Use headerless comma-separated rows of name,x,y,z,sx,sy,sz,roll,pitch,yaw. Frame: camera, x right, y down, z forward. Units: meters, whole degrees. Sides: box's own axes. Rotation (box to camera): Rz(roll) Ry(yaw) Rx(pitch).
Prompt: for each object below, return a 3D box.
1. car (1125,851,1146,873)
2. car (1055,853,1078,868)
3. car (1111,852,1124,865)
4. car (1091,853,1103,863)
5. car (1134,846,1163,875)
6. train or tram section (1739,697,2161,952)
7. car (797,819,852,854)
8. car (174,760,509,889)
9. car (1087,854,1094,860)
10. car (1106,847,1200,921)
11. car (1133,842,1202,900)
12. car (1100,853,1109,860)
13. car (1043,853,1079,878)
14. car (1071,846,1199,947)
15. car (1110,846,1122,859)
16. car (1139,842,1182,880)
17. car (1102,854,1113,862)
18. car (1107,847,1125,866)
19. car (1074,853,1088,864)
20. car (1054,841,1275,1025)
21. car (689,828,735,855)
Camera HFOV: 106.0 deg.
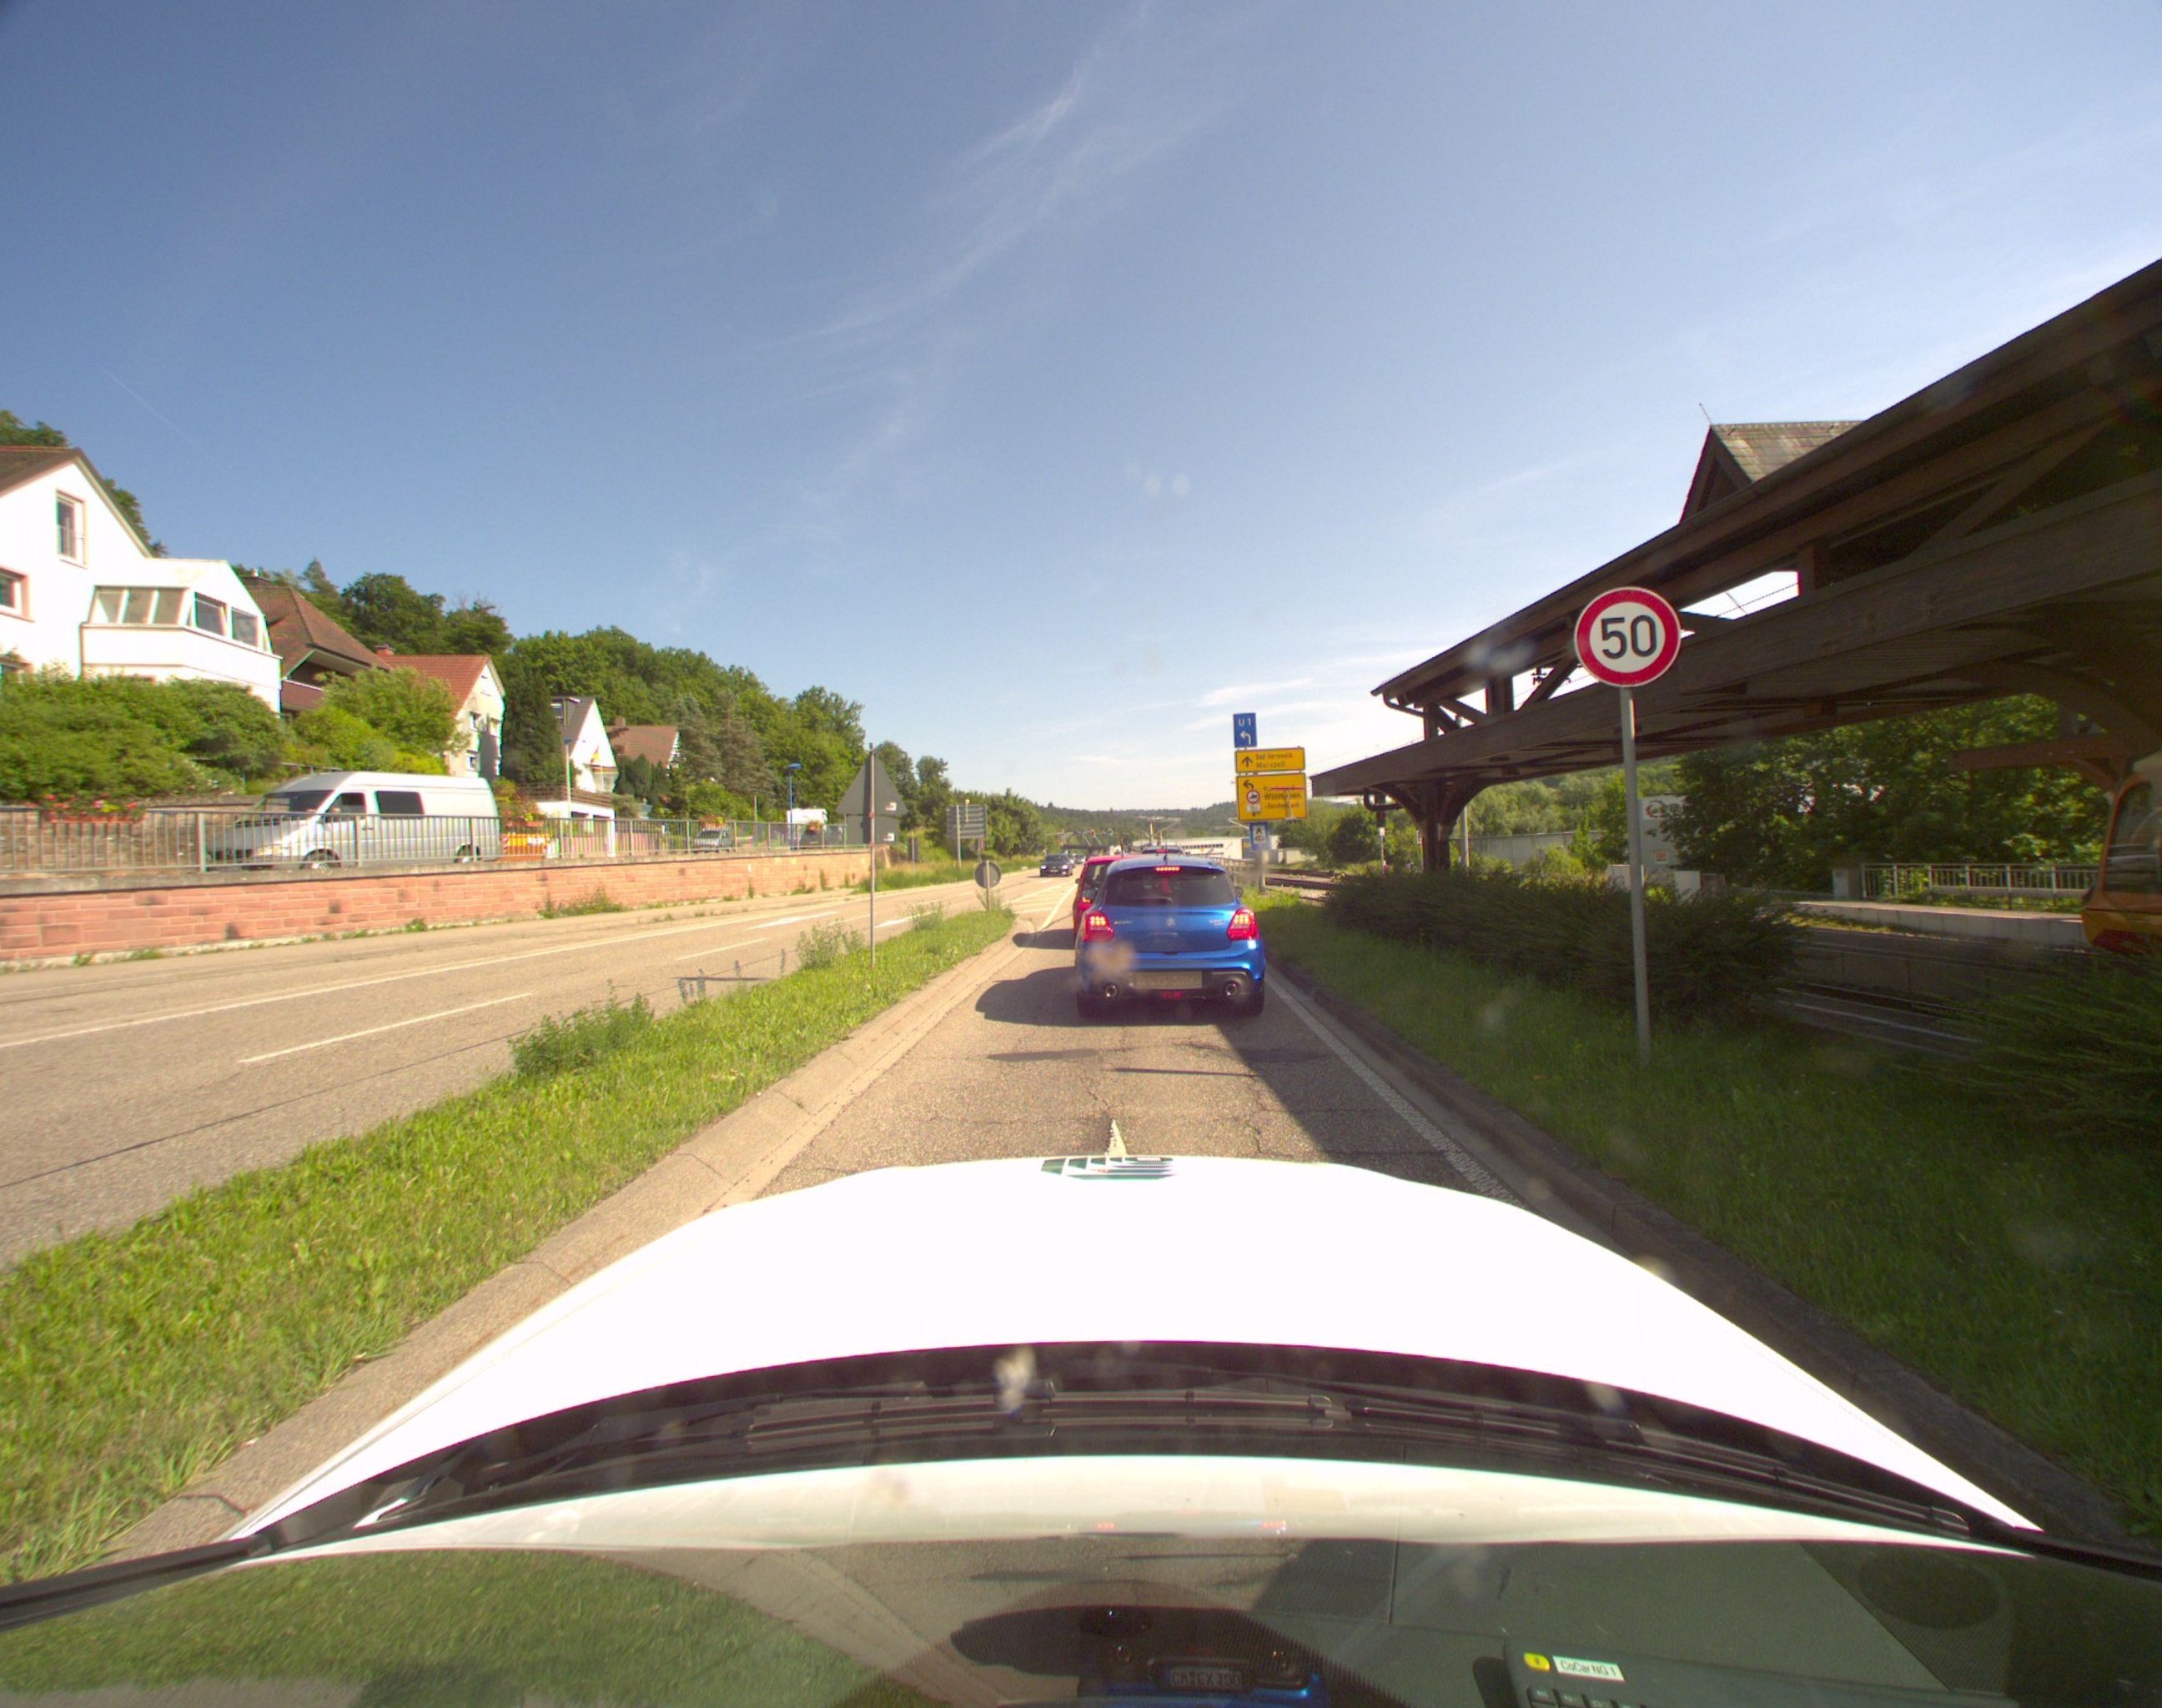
car,5.306,0.732,80.301,1.985,2.013,4.003,0,1,2
car,-1.556,0.687,87.023,1.984,1.564,4.515,-1,0,4
car,5.552,0.688,122.937,1.985,1.816,4.003,0,1,2
car,2.843,0.651,142.256,1.985,1.783,4.002,0,0,2
car,4.962,0.471,60.284,1.985,2.013,4.003,0,1,2
train or tram section,15.662,-0.394,11.723,2.746,3.364,12.049,0,1,1
car,-15.124,-1.034,48.296,2.017,1.920,4.725,0,1,-4
car,-16.112,-0.630,18.404,2.085,2.444,5.789,0,1,3
car,2.830,0.808,239.306,1.986,1.664,4.002,0,0,2
car,1.722,0.640,19.896,1.984,1.531,4.607,-2,0,4
car,2.680,0.484,25.954,1.984,1.686,4.502,0,0,4
car,5.469,0.491,186.282,1.986,1.591,4.002,0,0,2
car,-1.256,0.719,53.124,1.783,1.470,4.723,-1,0,5
car,0.985,0.668,14.648,1.984,1.571,4.004,0,0,4
car,5.907,-0.196,137.503,1.985,2.144,4.723,0,0,2
car,3.824,0.307,39.824,1.985,1.736,4.005,0,0,4
car,5.187,0.836,157.611,1.985,1.554,4.217,0,0,2
car,4.001,0.280,91.952,1.985,2.013,4.003,0,1,2
car,0.003,0.642,109.510,1.664,1.441,3.844,-1,0,4
car,0.784,0.669,8.978,1.861,1.548,4.002,-1,0,2
car,-23.747,-0.795,52.562,1.897,1.629,3.982,-1,0,-13
